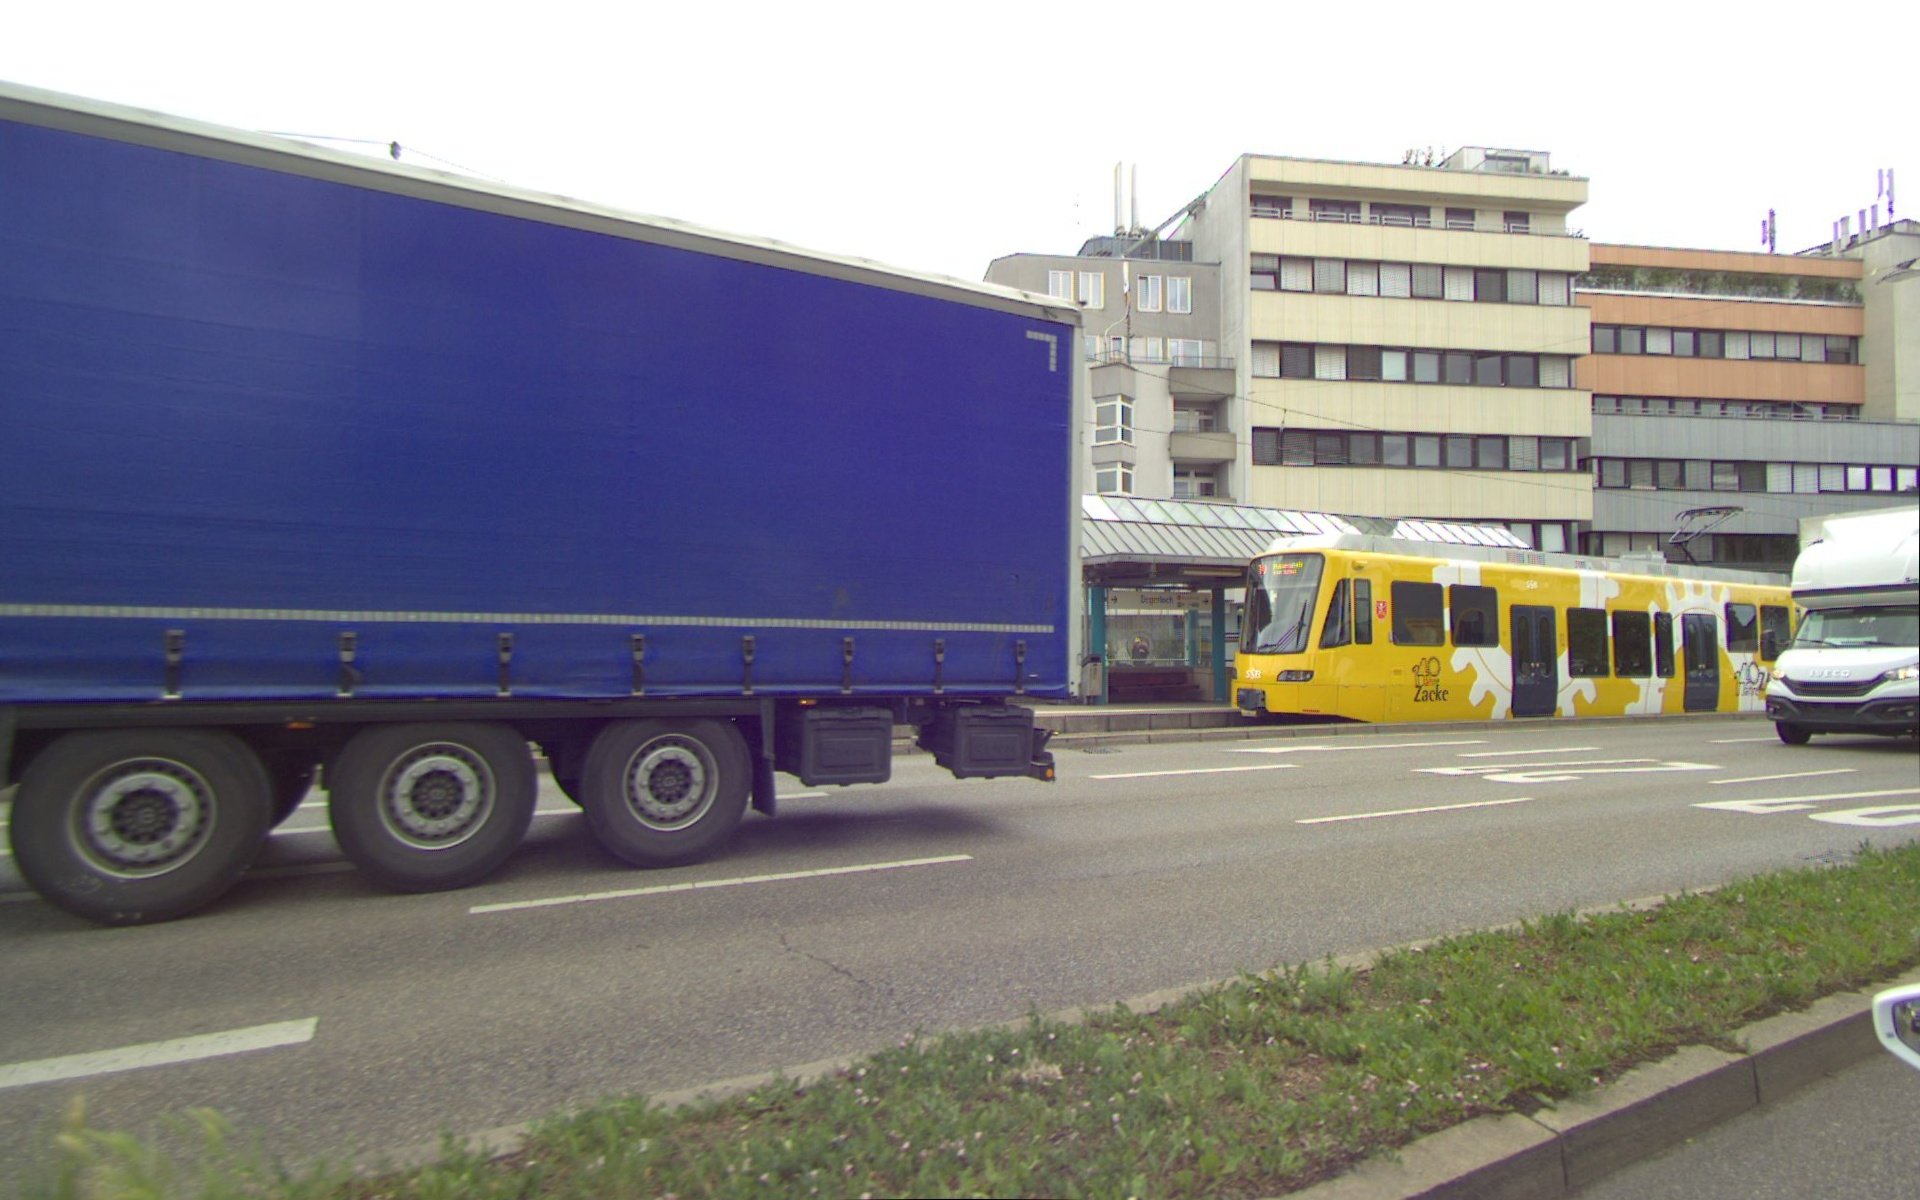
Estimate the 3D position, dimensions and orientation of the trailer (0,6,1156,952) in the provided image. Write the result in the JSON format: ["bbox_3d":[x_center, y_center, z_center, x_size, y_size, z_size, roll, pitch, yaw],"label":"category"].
[{"bbox_3d":[-5.699,-0.529,5.628,14.658,4.326,3.091,1,-2,-28],"label":"trailer"}]

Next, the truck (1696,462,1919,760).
[{"bbox_3d":[16.449,0.267,16.683,9.043,4.010,2.929,1,-2,-26],"label":"truck"}]

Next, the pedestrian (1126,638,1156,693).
[{"bbox_3d":[5.928,2.131,32.947,0.642,1.758,0.808,1,-2,-23],"label":"pedestrian"}]

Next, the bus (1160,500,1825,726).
[{"bbox_3d":[13.411,0.555,23.576,19.101,3.910,3.862,2,-3,-28],"label":"bus"}]
